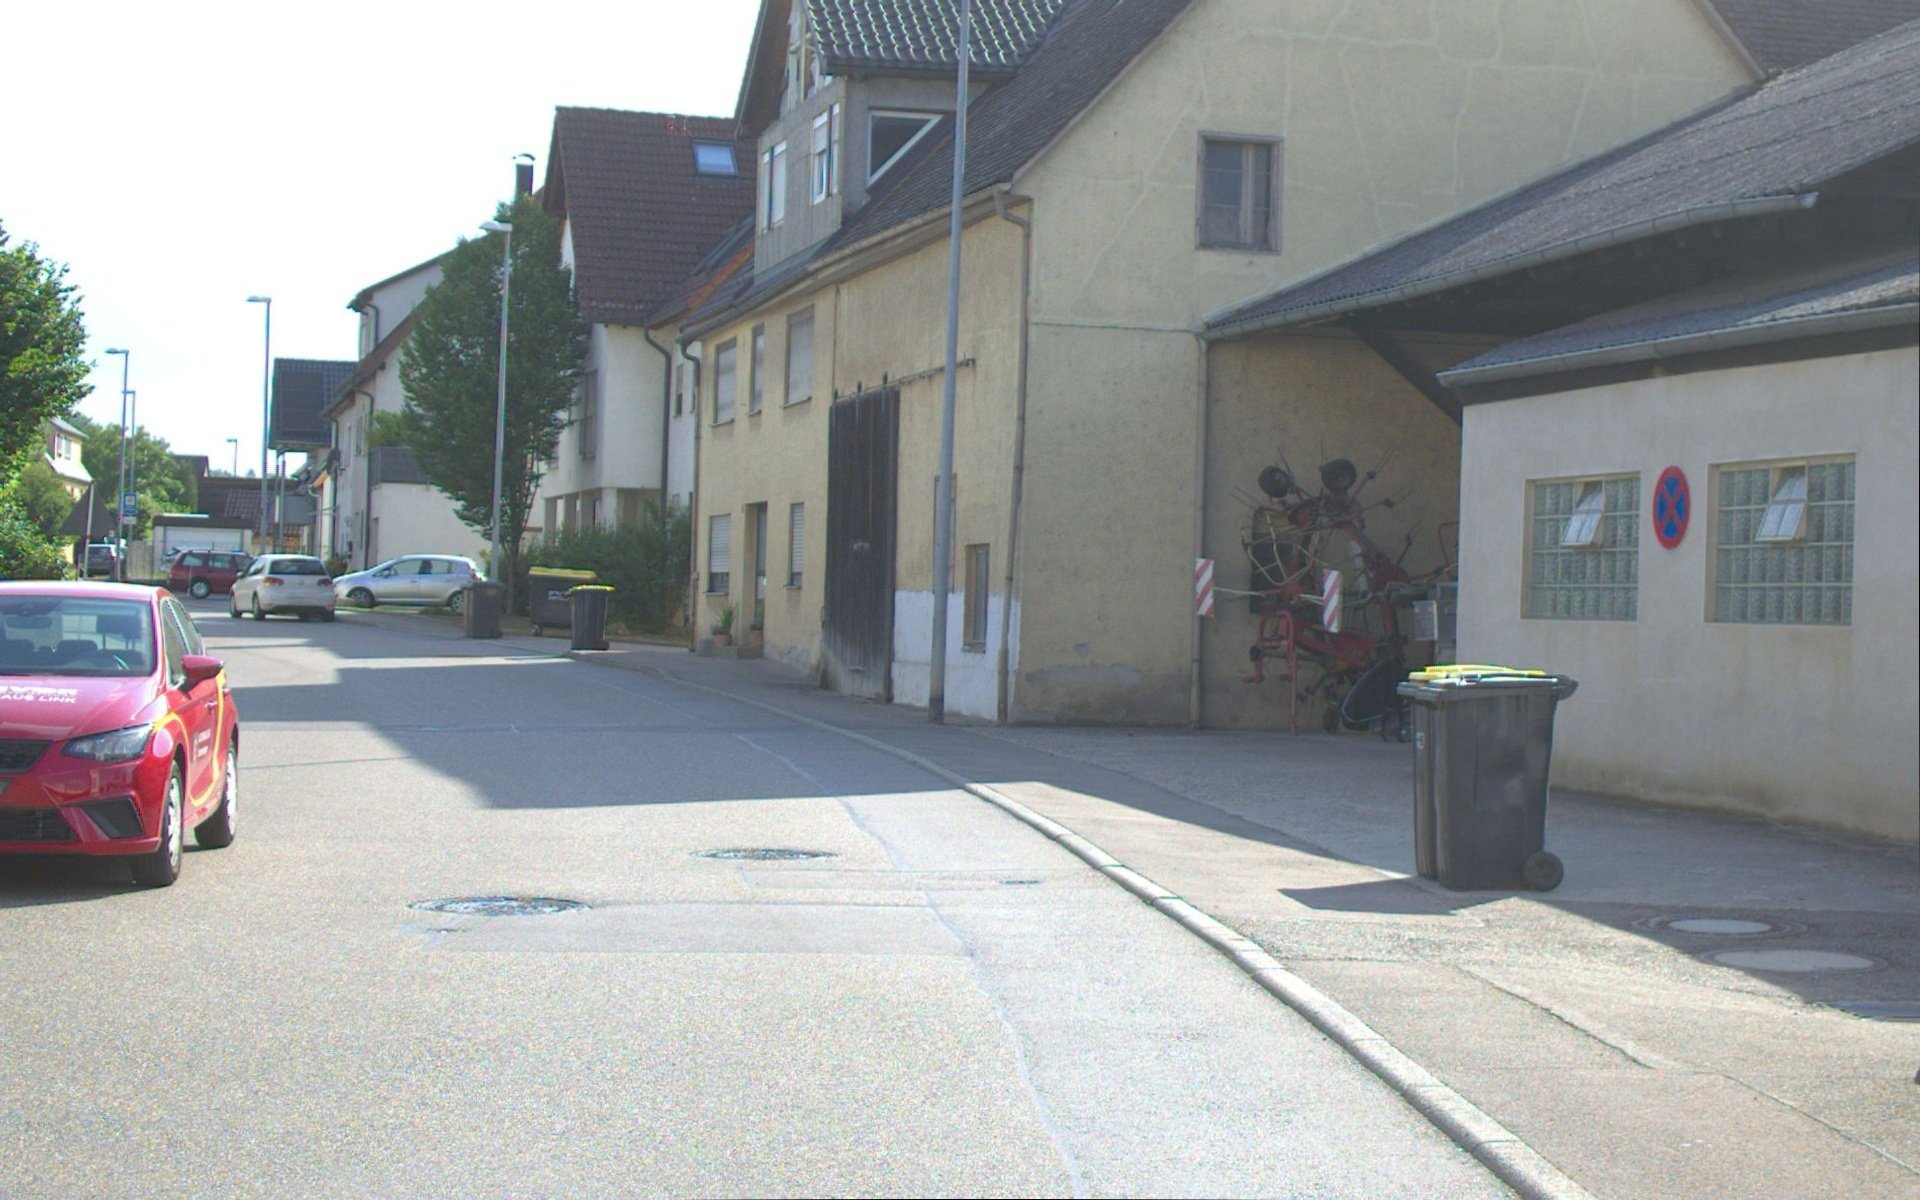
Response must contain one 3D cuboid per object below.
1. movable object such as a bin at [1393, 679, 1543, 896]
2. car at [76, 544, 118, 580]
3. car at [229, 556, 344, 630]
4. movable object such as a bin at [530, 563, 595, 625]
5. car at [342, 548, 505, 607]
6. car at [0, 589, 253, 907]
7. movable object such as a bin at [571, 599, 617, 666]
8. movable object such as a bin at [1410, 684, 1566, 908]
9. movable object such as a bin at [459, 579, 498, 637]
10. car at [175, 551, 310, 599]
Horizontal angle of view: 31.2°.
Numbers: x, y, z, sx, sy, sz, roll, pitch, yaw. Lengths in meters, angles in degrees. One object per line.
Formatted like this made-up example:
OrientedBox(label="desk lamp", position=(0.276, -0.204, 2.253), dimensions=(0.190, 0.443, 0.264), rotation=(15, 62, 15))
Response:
OrientedBox(label="movable object such as a bin", position=(2.604, 0.954, 17.654), dimensions=(0.653, 1.070, 0.513), rotation=(2, 0, -2))
OrientedBox(label="car", position=(-38.492, -1.678, 153.381), dimensions=(1.704, 1.546, 4.001), rotation=(2, 0, -14))
OrientedBox(label="car", position=(-15.107, -0.177, 77.010), dimensions=(1.704, 1.573, 4.001), rotation=(2, 0, -23))
OrientedBox(label="movable object such as a bin", position=(-7.663, -0.116, 66.254), dimensions=(1.160, 1.164, 0.655), rotation=(2, 0, -11))
OrientedBox(label="car", position=(-13.509, -0.566, 86.765), dimensions=(3.986, 1.348, 1.711), rotation=(2, 0, -7))
OrientedBox(label="car", position=(-4.617, 0.677, 17.319), dimensions=(1.708, 1.430, 3.781), rotation=(0, 0, -6))
OrientedBox(label="movable object such as a bin", position=(-5.981, 0.535, 56.141), dimensions=(0.652, 1.070, 0.513), rotation=(2, 0, -15))
OrientedBox(label="movable object such as a bin", position=(2.623, 0.967, 17.112), dimensions=(0.653, 1.070, 0.513), rotation=(2, 0, -2))
OrientedBox(label="movable object such as a bin", position=(-9.082, 0.150, 64.803), dimensions=(0.652, 1.070, 0.513), rotation=(2, 0, -15))
OrientedBox(label="car", position=(-22.051, -0.759, 105.634), dimensions=(3.985, 1.348, 1.711), rotation=(2, 0, -14))
